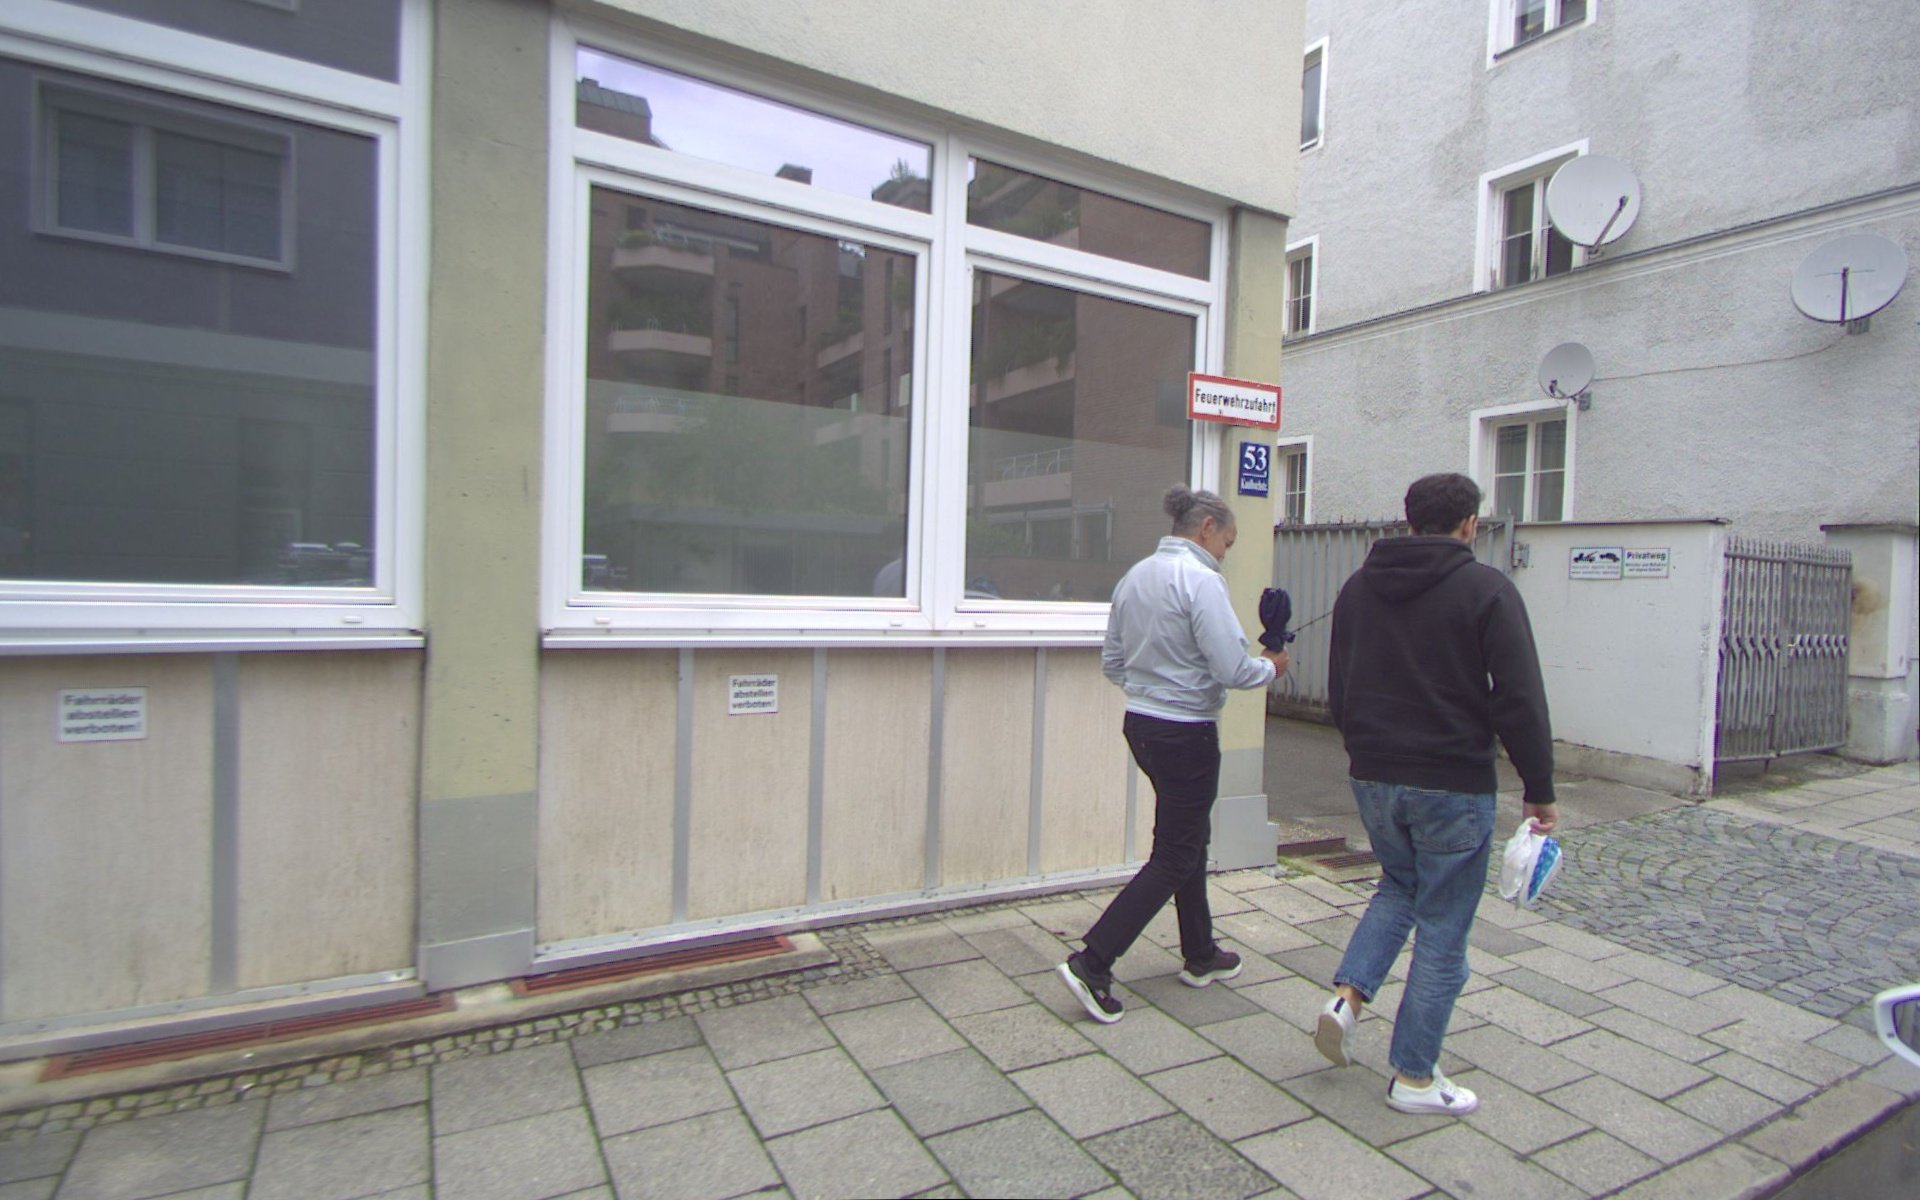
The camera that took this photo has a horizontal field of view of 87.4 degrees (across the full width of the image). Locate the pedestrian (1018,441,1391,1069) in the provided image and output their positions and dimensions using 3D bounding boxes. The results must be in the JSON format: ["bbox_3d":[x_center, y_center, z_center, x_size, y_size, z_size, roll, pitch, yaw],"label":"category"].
[{"bbox_3d":[0.815,0.450,3.432,0.906,1.821,0.715,2,2,-30],"label":"pedestrian"}]

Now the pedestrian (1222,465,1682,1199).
[{"bbox_3d":[1.338,0.585,2.795,0.828,1.789,0.715,2,2,-30],"label":"pedestrian"}]

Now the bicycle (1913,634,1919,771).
[{"bbox_3d":[8.976,0.937,8.917,0.634,1.234,1.657,2,0,40],"label":"bicycle"}]
